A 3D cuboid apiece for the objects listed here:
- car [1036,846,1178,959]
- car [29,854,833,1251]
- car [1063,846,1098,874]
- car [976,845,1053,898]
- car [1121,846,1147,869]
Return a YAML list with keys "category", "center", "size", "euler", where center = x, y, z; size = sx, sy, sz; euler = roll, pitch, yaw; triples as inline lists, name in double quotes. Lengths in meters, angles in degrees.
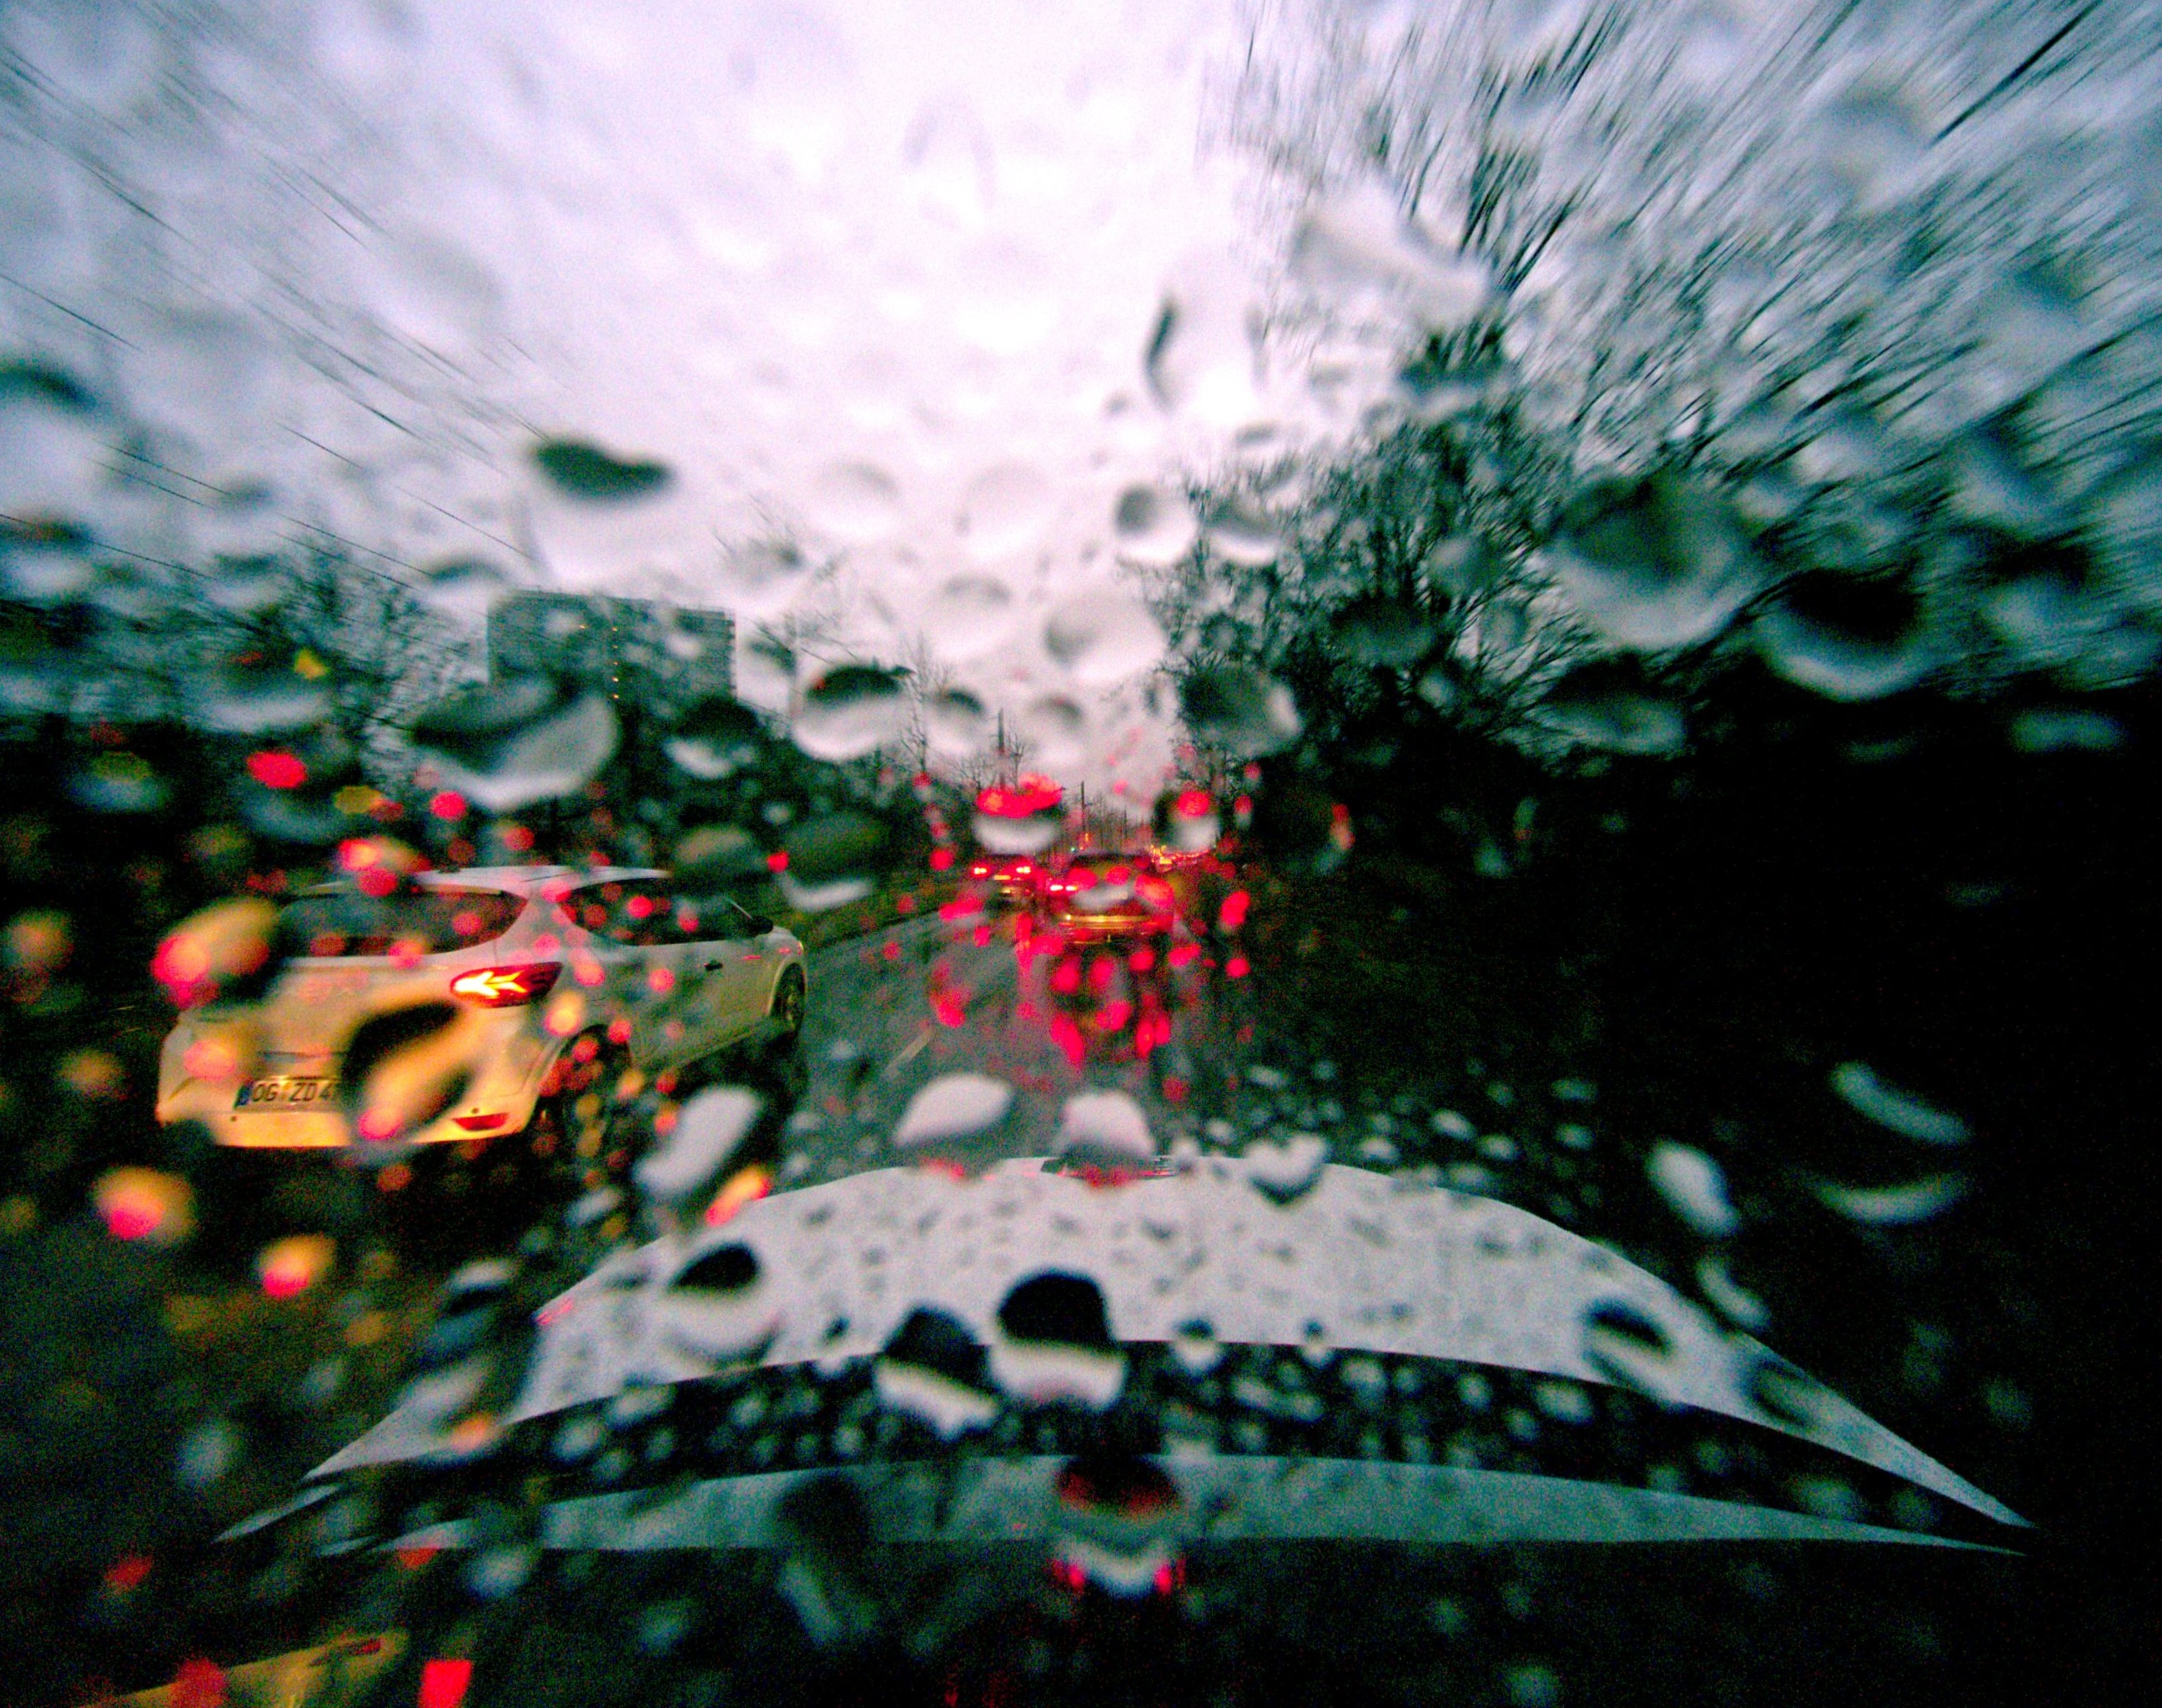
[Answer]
- category: "car"
  center: [0.395, 0.675, 13.621]
  size: [1.991, 1.584, 4.000]
  euler: [-1, 0, 0]
- category: "car"
  center: [-3.214, 0.790, 5.280]
  size: [1.701, 1.525, 4.138]
  euler: [-1, 0, 3]
- category: "car"
  center: [0.005, 0.329, 49.867]
  size: [1.872, 1.593, 4.003]
  euler: [-2, 1, 3]
- category: "car"
  center: [-1.995, 0.493, 25.569]
  size: [1.872, 1.459, 4.003]
  euler: [-2, 1, 3]
- category: "car"
  center: [3.677, 0.236, 57.159]
  size: [1.702, 1.558, 3.999]
  euler: [-1, 0, 3]
